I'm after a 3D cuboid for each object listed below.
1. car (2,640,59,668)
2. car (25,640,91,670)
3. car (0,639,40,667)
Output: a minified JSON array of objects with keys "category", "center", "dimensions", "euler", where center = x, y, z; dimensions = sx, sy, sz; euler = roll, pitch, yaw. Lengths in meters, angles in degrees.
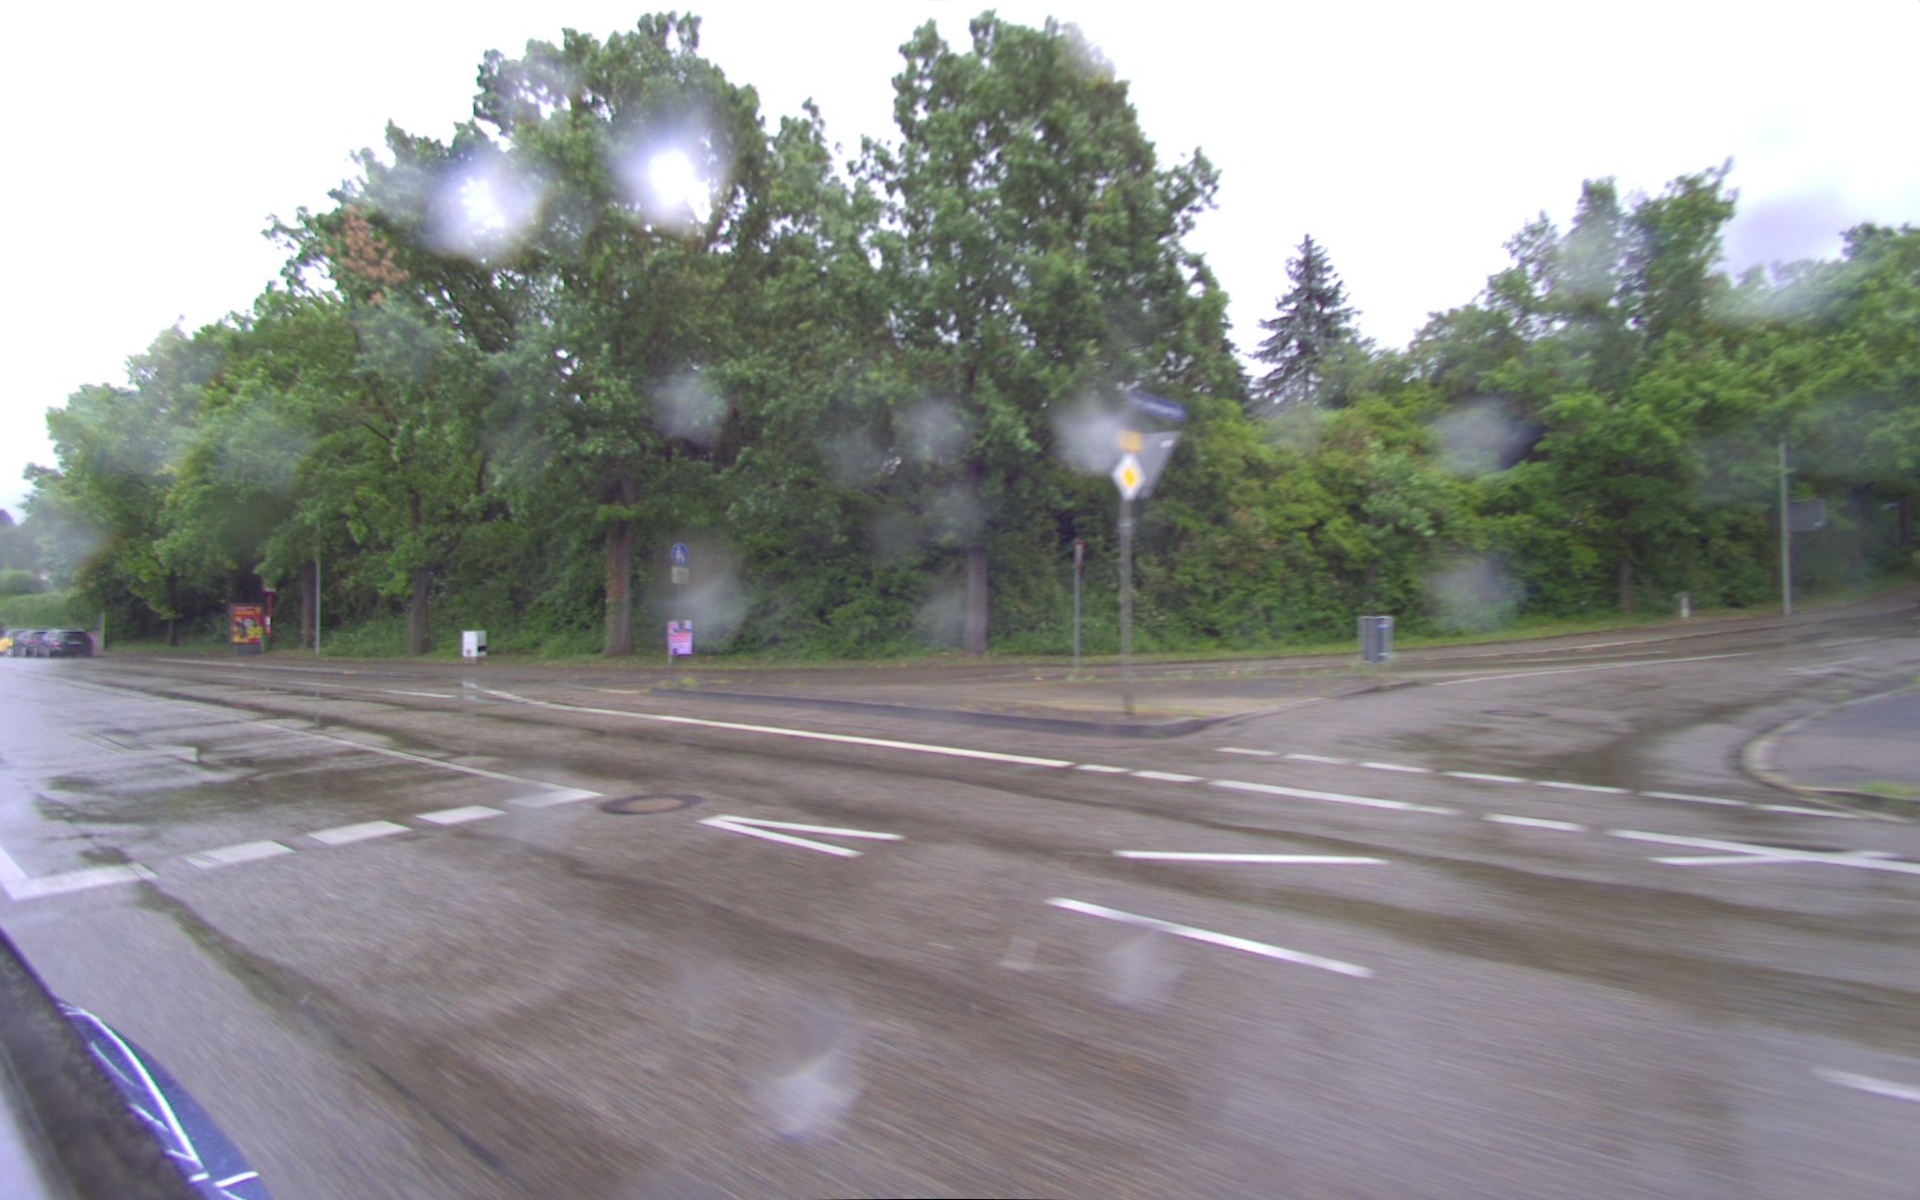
[{"category":"car","center":[-50.768,2.937,55.259],"dimensions":[4.094,1.430,1.421],"euler":[-2,-2,35]},{"category":"car","center":[-46.440,2.805,52.083],"dimensions":[4.733,1.430,1.671],"euler":[-2,-2,37]},{"category":"car","center":[-53.944,3.035,57.723],"dimensions":[2.809,1.549,1.423],"euler":[-2,-2,31]}]
